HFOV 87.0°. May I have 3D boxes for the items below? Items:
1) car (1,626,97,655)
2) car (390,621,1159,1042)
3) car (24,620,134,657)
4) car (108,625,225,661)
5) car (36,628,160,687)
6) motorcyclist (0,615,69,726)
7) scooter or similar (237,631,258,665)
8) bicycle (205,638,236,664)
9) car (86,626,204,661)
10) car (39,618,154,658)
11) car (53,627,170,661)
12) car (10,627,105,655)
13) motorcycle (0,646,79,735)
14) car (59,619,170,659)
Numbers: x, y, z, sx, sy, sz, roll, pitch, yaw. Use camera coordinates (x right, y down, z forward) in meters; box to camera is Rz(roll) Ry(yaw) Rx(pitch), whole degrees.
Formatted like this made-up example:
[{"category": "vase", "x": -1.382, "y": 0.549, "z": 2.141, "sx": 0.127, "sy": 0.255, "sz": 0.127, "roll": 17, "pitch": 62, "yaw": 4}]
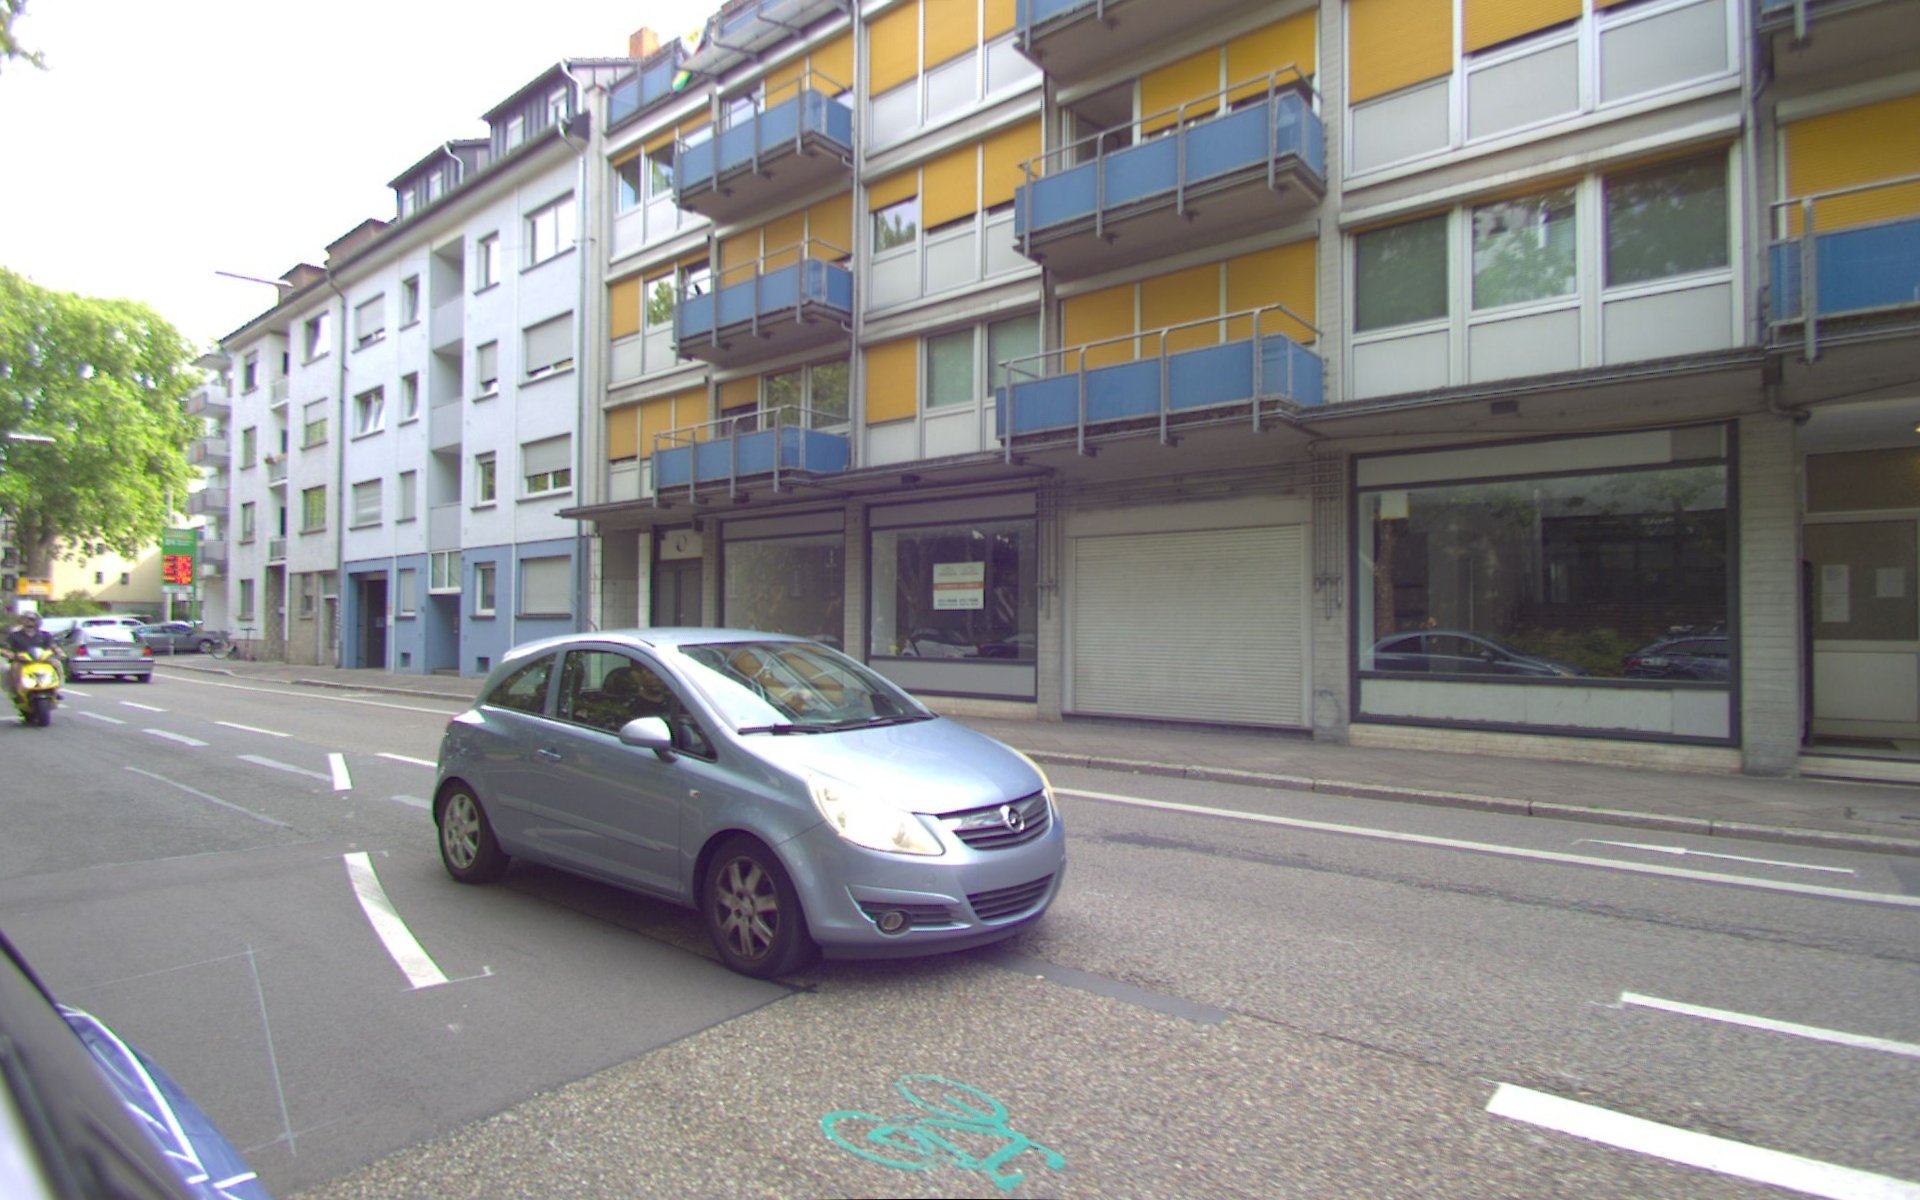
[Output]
[{"category": "car", "x": -59.568, "y": 2.638, "z": 66.255, "sx": 1.753, "sy": 1.618, "sz": 4.472, "roll": -2, "pitch": 0, "yaw": 41}, {"category": "car", "x": -1.241, "y": 0.843, "z": 5.452, "sx": 4.247, "sy": 1.431, "sz": 1.696, "roll": -1, "pitch": -2, "yaw": 38}, {"category": "car", "x": -51.003, "y": 2.216, "z": 58.684, "sx": 1.949, "sy": 1.873, "sz": 4.568, "roll": -2, "pitch": 0, "yaw": 41}, {"category": "car", "x": -38.022, "y": 2.032, "z": 48.569, "sx": 1.836, "sy": 1.525, "sz": 4.109, "roll": -2, "pitch": 0, "yaw": 40}, {"category": "car", "x": -23.042, "y": 1.500, "z": 27.009, "sx": 4.094, "sy": 1.438, "sz": 1.740, "roll": -1, "pitch": -4, "yaw": 39}, {"category": "motorcyclist", "x": -14.156, "y": 1.045, "z": 15.313, "sx": 0.691, "sy": 1.630, "sz": 0.893, "roll": -2, "pitch": -2, "yaw": 40}, {"category": "scooter or similar", "x": -26.196, "y": 1.767, "z": 37.211, "sx": 1.201, "sy": 1.231, "sz": 0.346, "roll": -2, "pitch": -1, "yaw": 40}, {"category": "bicycle", "x": -28.374, "y": 1.935, "z": 38.813, "sx": 1.661, "sy": 0.957, "sz": 0.591, "roll": -2, "pitch": -1, "yaw": 40}, {"category": "car", "x": -40.018, "y": 2.110, "z": 49.769, "sx": 1.909, "sy": 1.462, "sz": 4.257, "roll": -2, "pitch": 0, "yaw": 40}, {"category": "car", "x": -48.927, "y": 2.119, "z": 57.437, "sx": 1.993, "sy": 1.949, "sz": 4.718, "roll": -2, "pitch": 0, "yaw": 41}, {"category": "car", "x": -42.398, "y": 2.169, "z": 50.634, "sx": 1.873, "sy": 1.462, "sz": 4.228, "roll": -2, "pitch": 0, "yaw": 40}, {"category": "car", "x": -57.754, "y": 2.606, "z": 64.820, "sx": 1.732, "sy": 1.560, "sz": 4.317, "roll": -2, "pitch": 0, "yaw": 41}, {"category": "motorcycle", "x": -14.156, "y": 1.314, "z": 15.297, "sx": 2.629, "sy": 1.206, "sz": 0.893, "roll": -2, "pitch": -2, "yaw": 41}, {"category": "car", "x": -44.017, "y": 2.008, "z": 52.757, "sx": 1.923, "sy": 1.862, "sz": 4.168, "roll": -2, "pitch": 0, "yaw": 40}]
